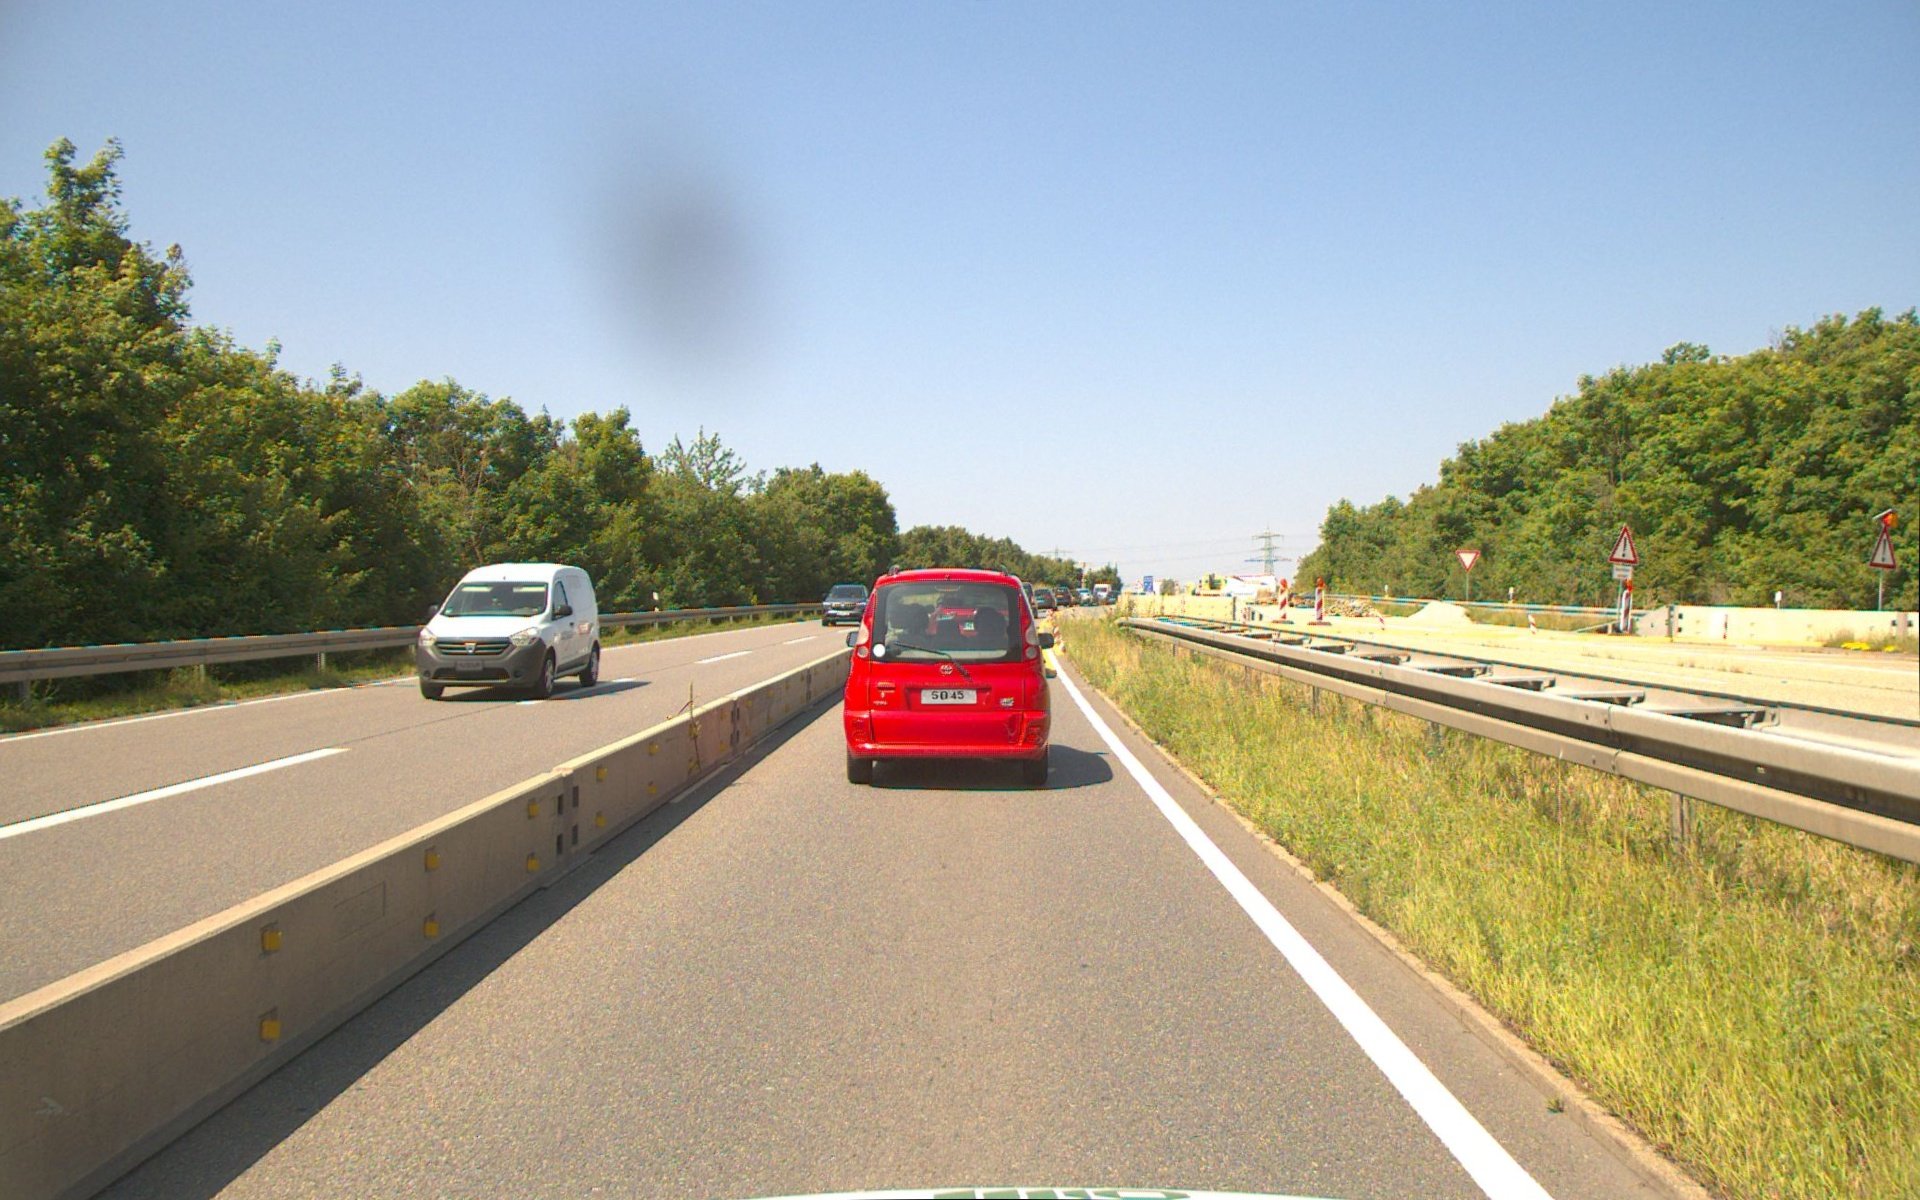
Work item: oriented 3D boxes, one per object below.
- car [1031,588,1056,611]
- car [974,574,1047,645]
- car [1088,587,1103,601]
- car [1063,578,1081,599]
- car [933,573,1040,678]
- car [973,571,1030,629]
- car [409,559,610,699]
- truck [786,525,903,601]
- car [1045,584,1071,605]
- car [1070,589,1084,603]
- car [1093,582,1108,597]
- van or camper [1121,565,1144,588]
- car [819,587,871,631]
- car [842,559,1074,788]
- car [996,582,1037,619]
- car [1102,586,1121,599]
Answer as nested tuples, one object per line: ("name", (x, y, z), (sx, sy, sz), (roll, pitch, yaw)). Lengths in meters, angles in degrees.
("car", (5.388, -0.028, 106.974), (1.471, 1.476, 3.326), (0, 0, 1))
("car", (1.393, 0.237, 46.182), (1.952, 1.870, 4.001), (0, 0, 1))
("car", (14.385, -0.632, 175.644), (1.470, 1.476, 3.171), (0, 0, 4))
("car", (9.838, -1.000, 145.368), (1.471, 1.767, 3.171), (-1, 0, 2))
("car", (0.490, 0.412, 29.858), (1.792, 1.752, 4.001), (0, 0, 1))
("car", (1.504, 0.002, 61.159), (1.953, 2.038, 4.000), (1, 0, -1))
("car", (-6.257, 0.358, 23.443), (1.720, 1.795, 4.283), (0, 0, -1))
("truck", (-8.684, -2.769, 125.183), (8.440, 5.469, 3.390), (-1, 0, 3))
("car", (7.826, -0.423, 131.928), (1.951, 1.612, 4.002), (0, 0, 5))
("car", (11.405, -0.371, 161.228), (1.391, 1.321, 2.880), (0, 0, 4))
("car", (18.699, -1.409, 220.567), (1.951, 2.049, 4.002), (-1, 0, 5))
("van or camper", (21.381, -2.884, 205.433), (2.280, 2.754, 4.592), (0, 0, -1))
("car", (-4.584, 0.316, 66.564), (1.819, 1.667, 4.383), (-1, 0, -1))
("car", (-0.027, 0.539, 14.322), (1.716, 1.702, 4.000), (0, 0, 0))
("car", (2.798, 0.008, 82.312), (1.952, 1.780, 4.000), (0, 0, 0))
("car", (18.338, -0.932, 200.254), (1.952, 1.579, 4.001), (-1, 0, 1))
